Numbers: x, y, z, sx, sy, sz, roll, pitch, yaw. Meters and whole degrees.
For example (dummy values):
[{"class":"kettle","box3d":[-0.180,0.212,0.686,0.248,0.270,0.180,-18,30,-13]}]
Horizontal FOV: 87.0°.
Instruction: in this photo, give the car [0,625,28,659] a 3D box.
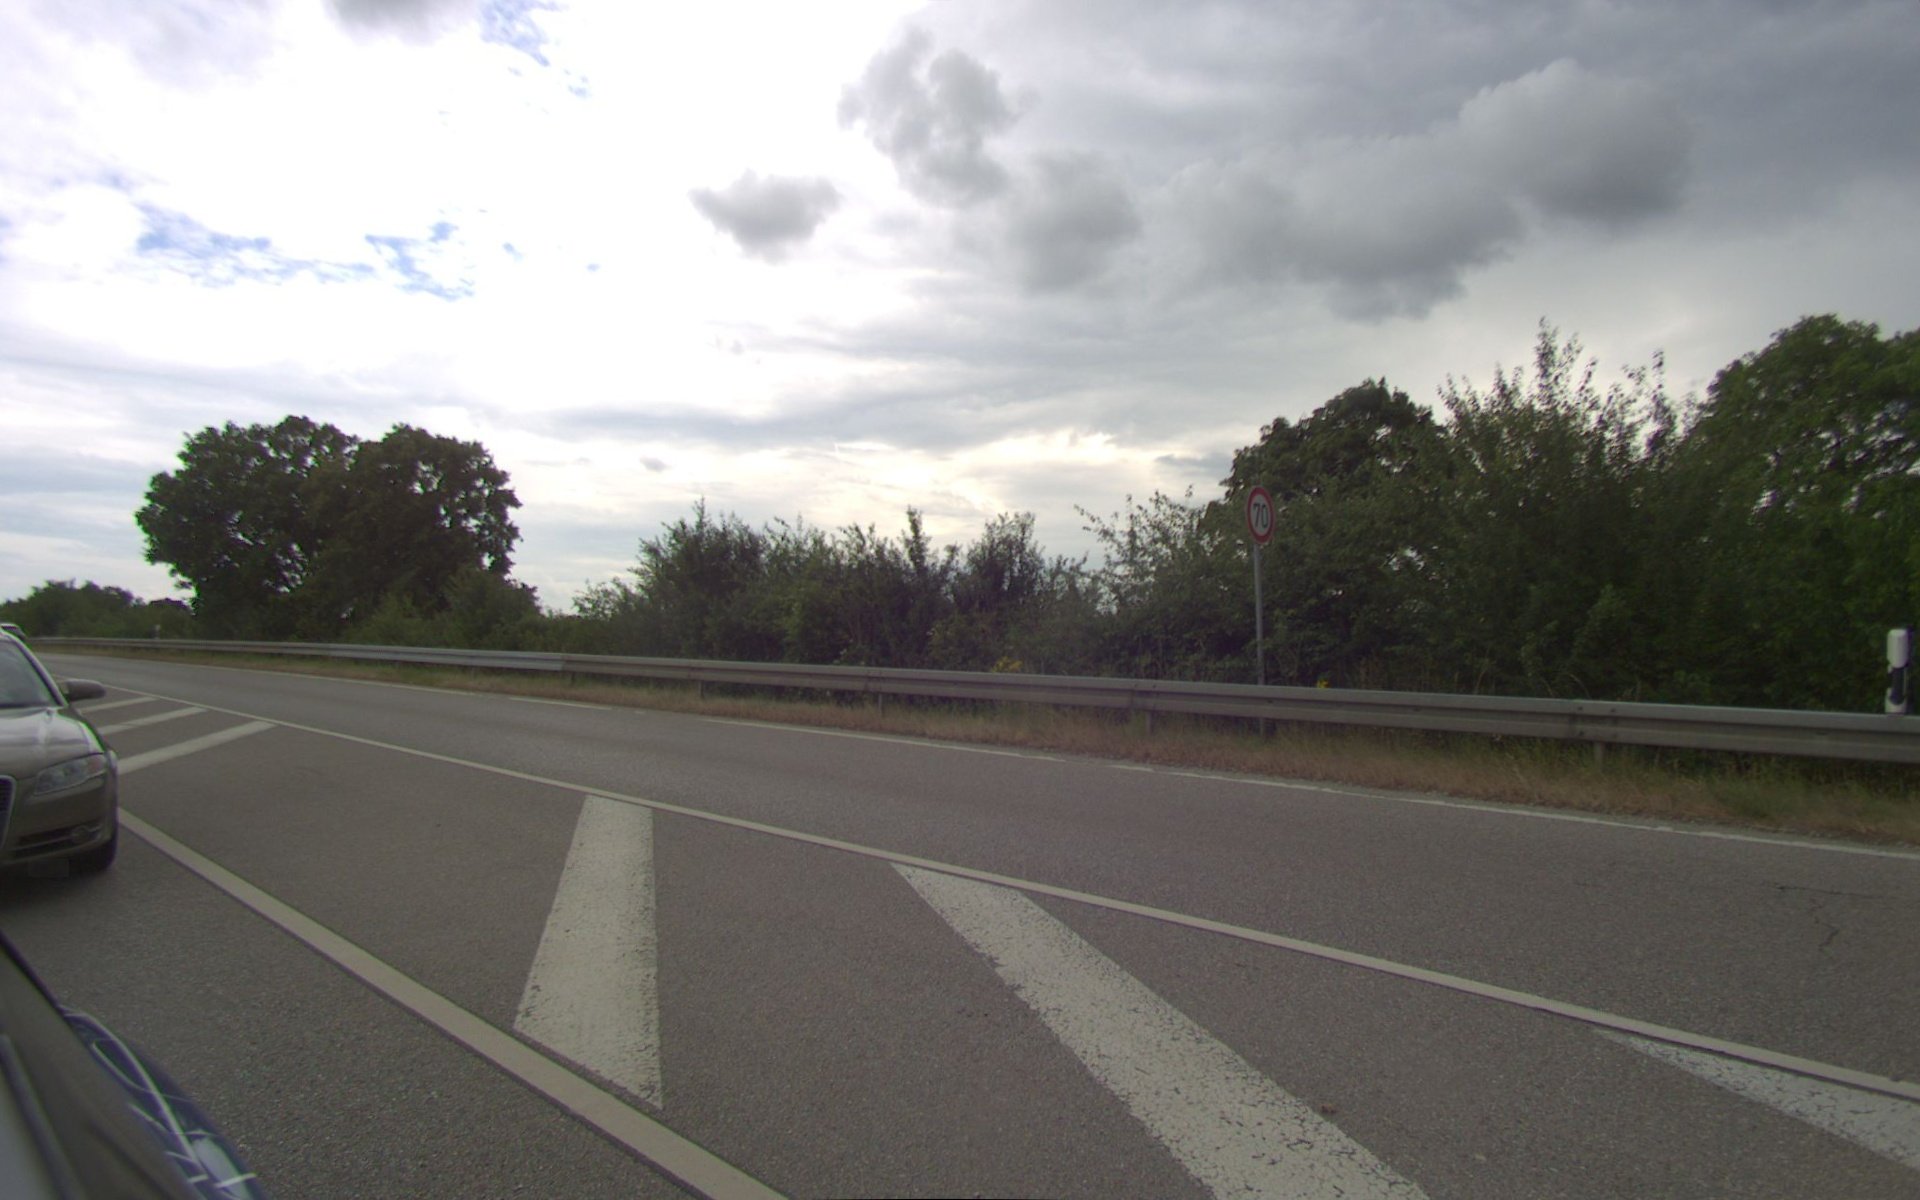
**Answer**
[{"class":"car","box3d":[-41.235,1.768,43.225,4.612,1.385,1.800,-1,-1,44]}]

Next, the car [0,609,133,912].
[{"class":"car","box3d":[-6.394,0.818,5.926,4.032,1.461,1.761,-2,-2,41]}]
